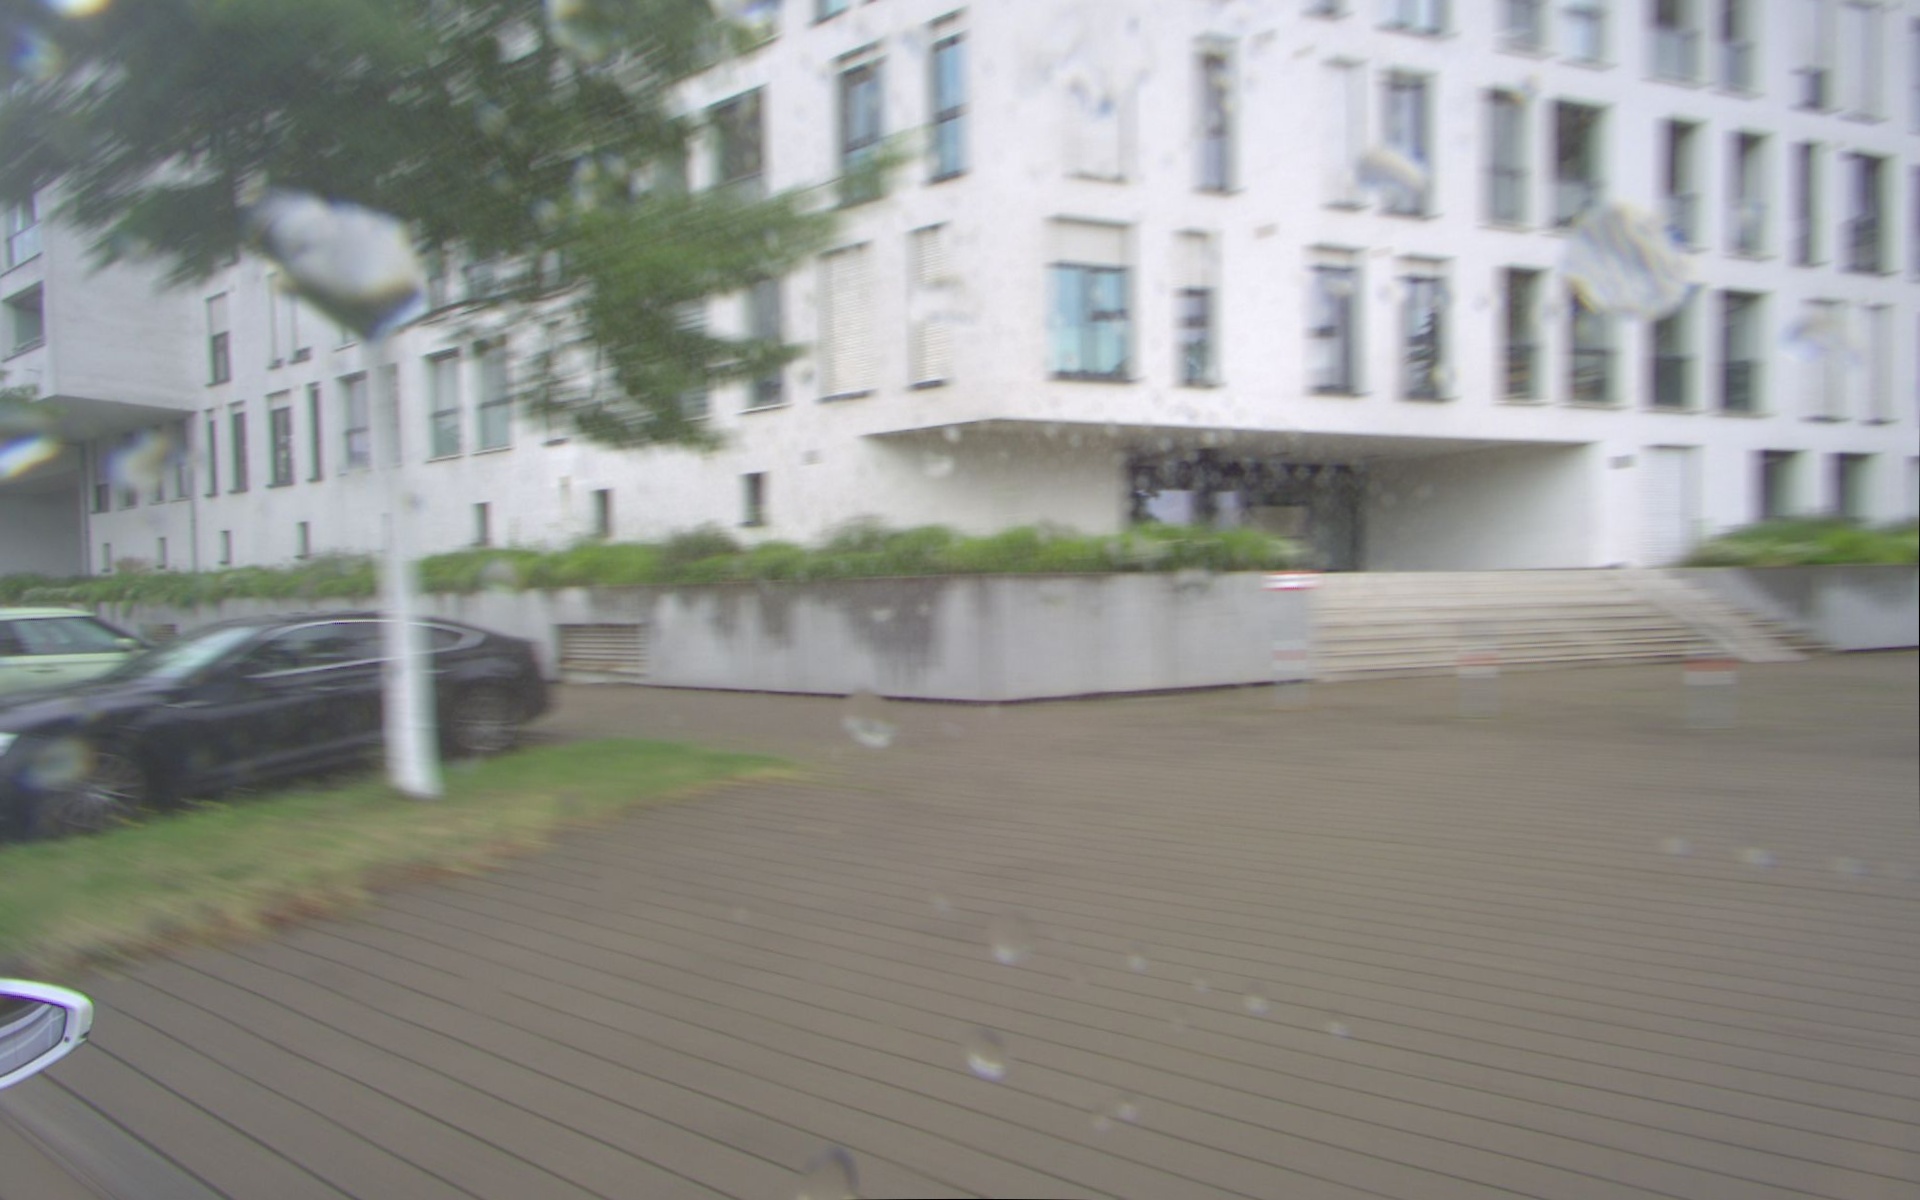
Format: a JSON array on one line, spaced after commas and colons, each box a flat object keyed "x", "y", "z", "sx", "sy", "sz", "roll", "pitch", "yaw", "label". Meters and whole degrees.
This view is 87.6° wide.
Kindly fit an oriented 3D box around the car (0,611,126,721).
[{"x": -13.924, "y": 0.894, "z": 13.414, "sx": 1.568, "sy": 1.493, "sz": 3.951, "roll": 0, "pitch": -1, "yaw": 30, "label": "car"}]

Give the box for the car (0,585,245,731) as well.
[{"x": -11.511, "y": 0.707, "z": 12.365, "sx": 1.611, "sy": 1.577, "sz": 3.975, "roll": 0, "pitch": 3, "yaw": 32, "label": "car"}]

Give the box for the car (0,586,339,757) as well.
[{"x": -9.467, "y": 0.710, "z": 10.707, "sx": 1.667, "sy": 1.502, "sz": 4.475, "roll": 0, "pitch": 3, "yaw": 32, "label": "car"}]

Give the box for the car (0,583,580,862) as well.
[{"x": -5.612, "y": 0.727, "z": 8.097, "sx": 1.799, "sy": 1.518, "sz": 4.559, "roll": 0, "pitch": 3, "yaw": 31, "label": "car"}]
